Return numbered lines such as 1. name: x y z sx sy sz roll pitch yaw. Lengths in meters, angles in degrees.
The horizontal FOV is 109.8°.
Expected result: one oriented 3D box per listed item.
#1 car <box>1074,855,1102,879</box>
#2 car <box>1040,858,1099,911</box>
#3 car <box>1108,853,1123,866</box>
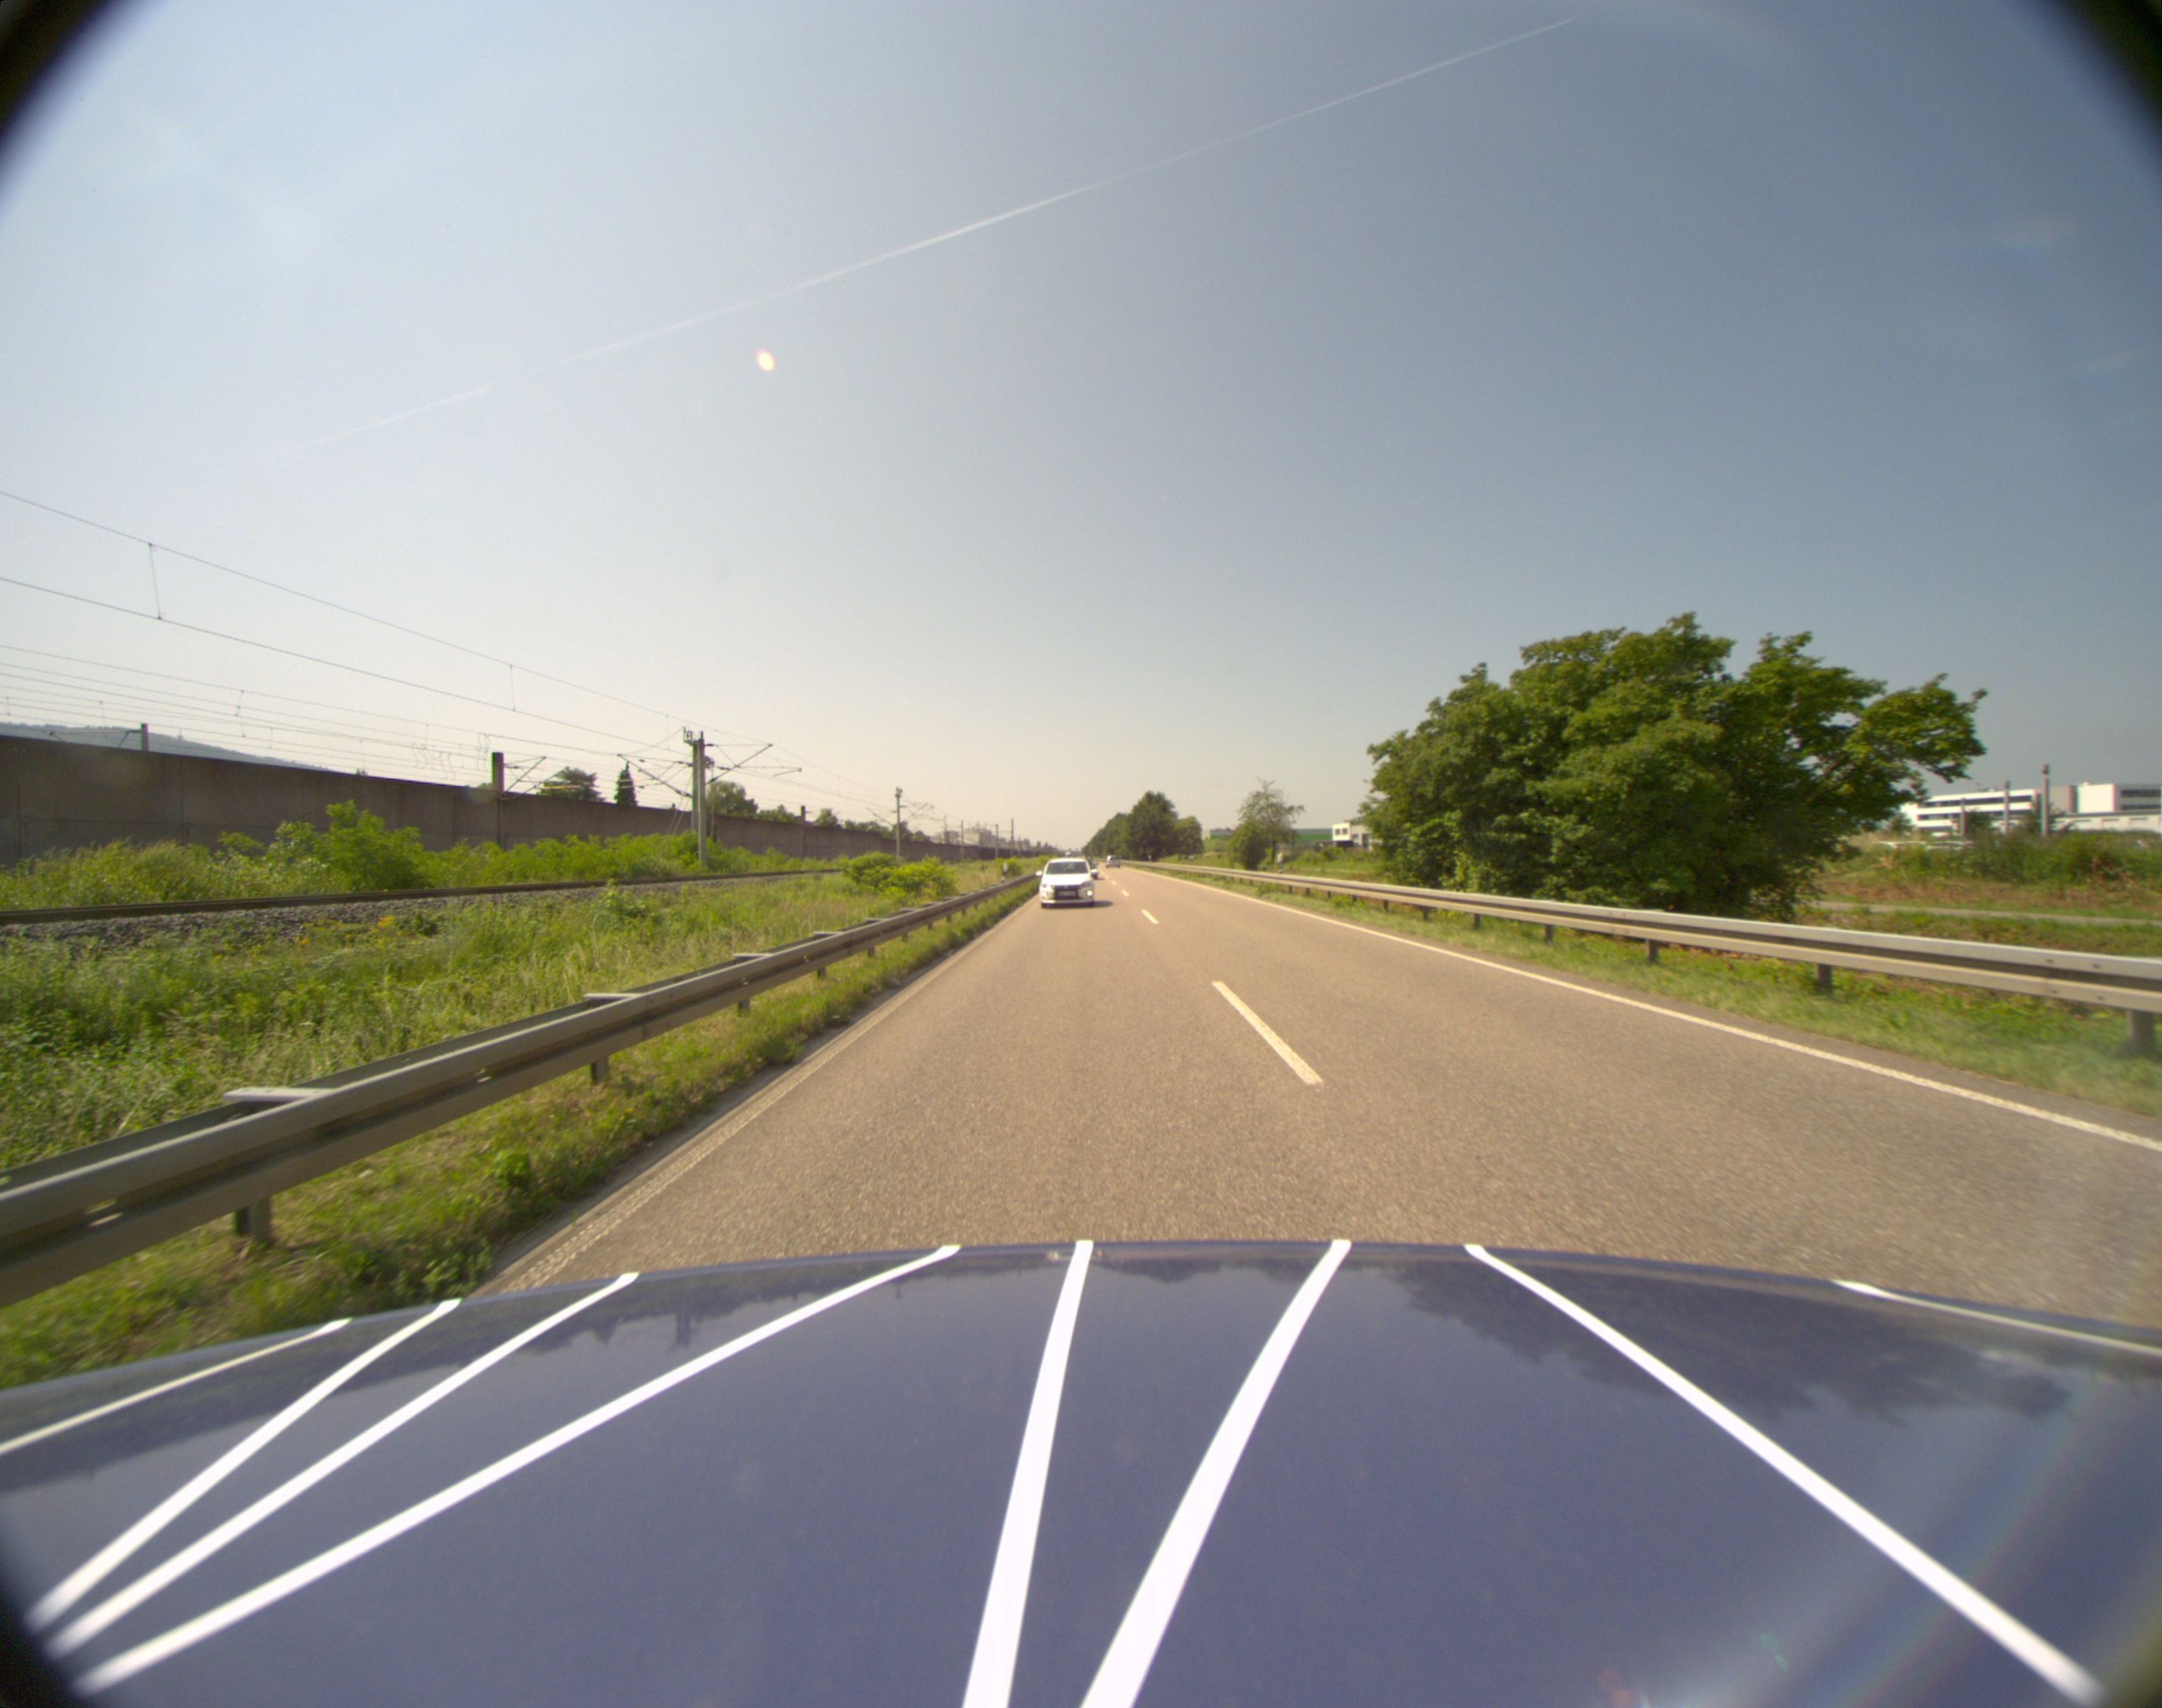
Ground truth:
1. car: 0.404 0.808 50.439 1.711 1.470 4.154 -2 0 -1
2. car: -0.390 0.905 24.422 1.701 1.470 4.154 -2 0 -1
3. car: 4.333 0.642 96.172 1.702 1.466 4.686 -2 0 0
